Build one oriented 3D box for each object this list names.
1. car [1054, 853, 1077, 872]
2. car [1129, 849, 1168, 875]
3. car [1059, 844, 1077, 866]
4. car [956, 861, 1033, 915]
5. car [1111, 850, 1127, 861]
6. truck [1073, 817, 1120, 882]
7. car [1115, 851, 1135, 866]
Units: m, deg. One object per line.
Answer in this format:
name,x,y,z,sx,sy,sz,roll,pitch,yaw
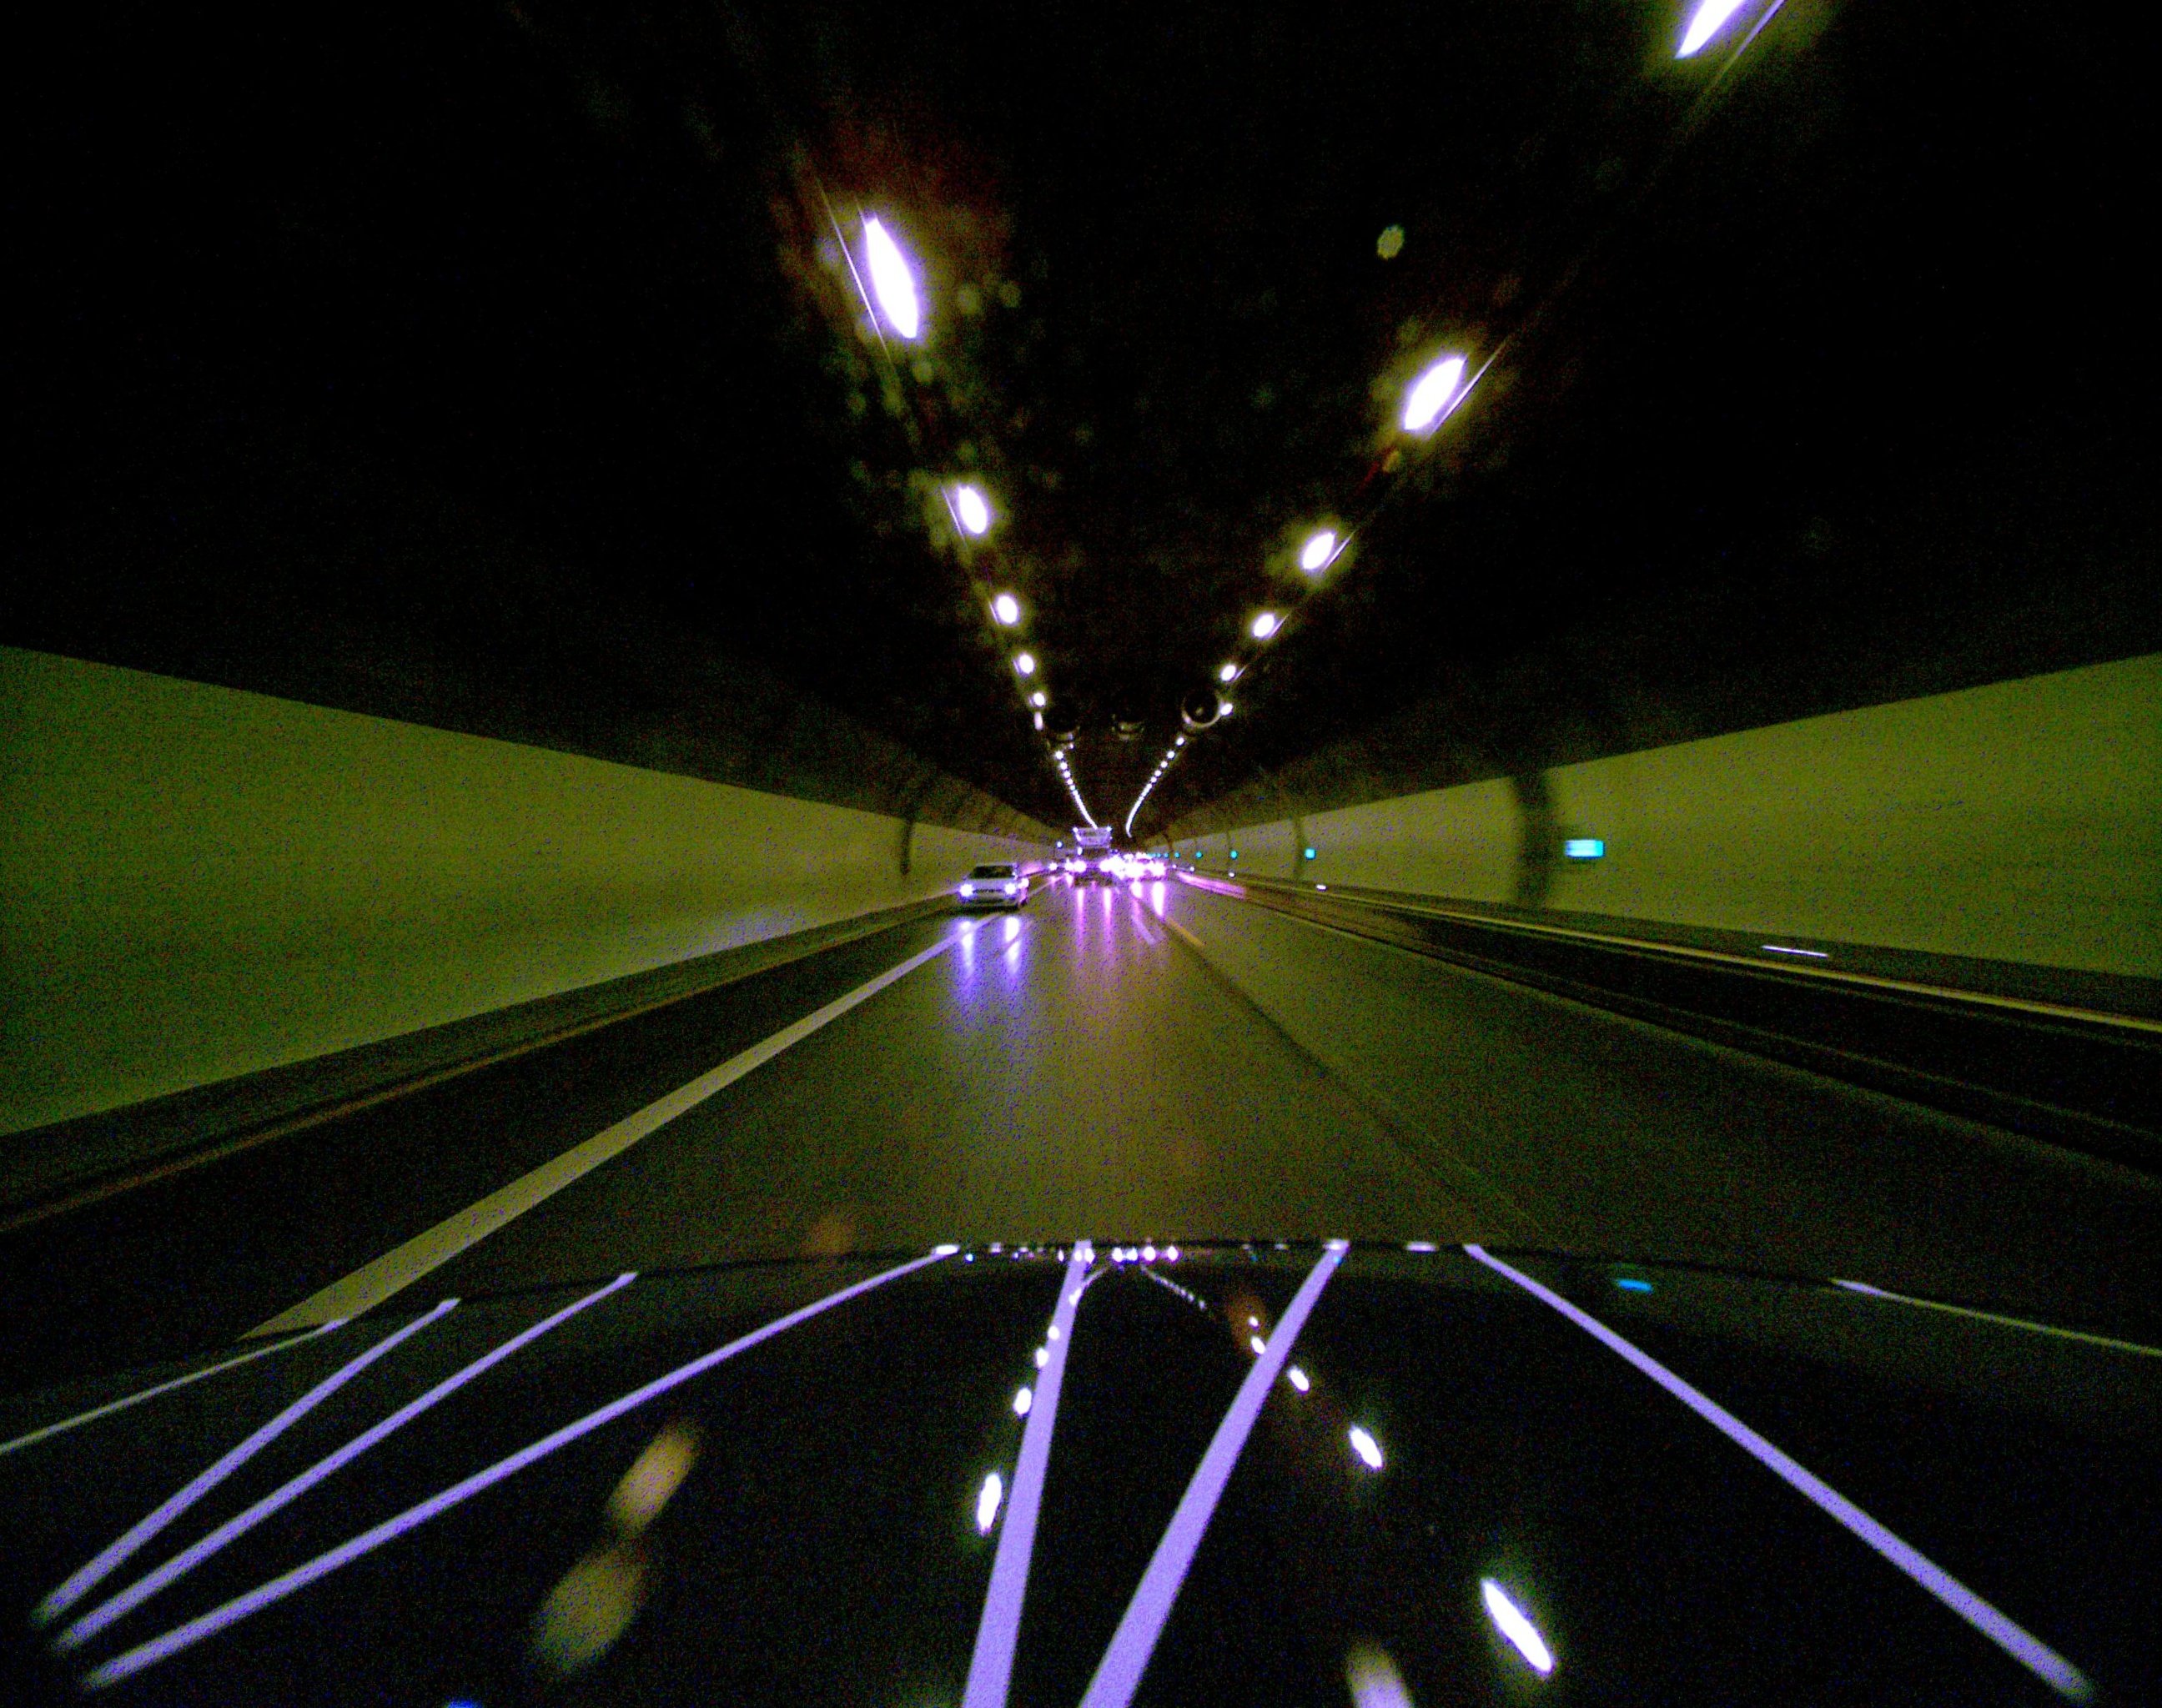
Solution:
car,-1.354,0.760,68.716,1.958,1.528,4.757,-3,1,-1
car,4.122,0.474,47.217,1.908,1.476,4.943,-1,0,-1
car,-1.601,0.085,98.484,2.124,2.629,6.229,-3,1,0
car,-2.620,0.996,23.829,1.801,1.452,4.035,-2,0,2
car,5.901,0.252,118.631,1.958,1.528,4.757,-5,1,-1
truck,0.794,-0.254,42.212,2.262,3.238,7.382,-2,0,0
car,4.263,0.396,73.890,1.657,1.395,3.656,-2,0,0
